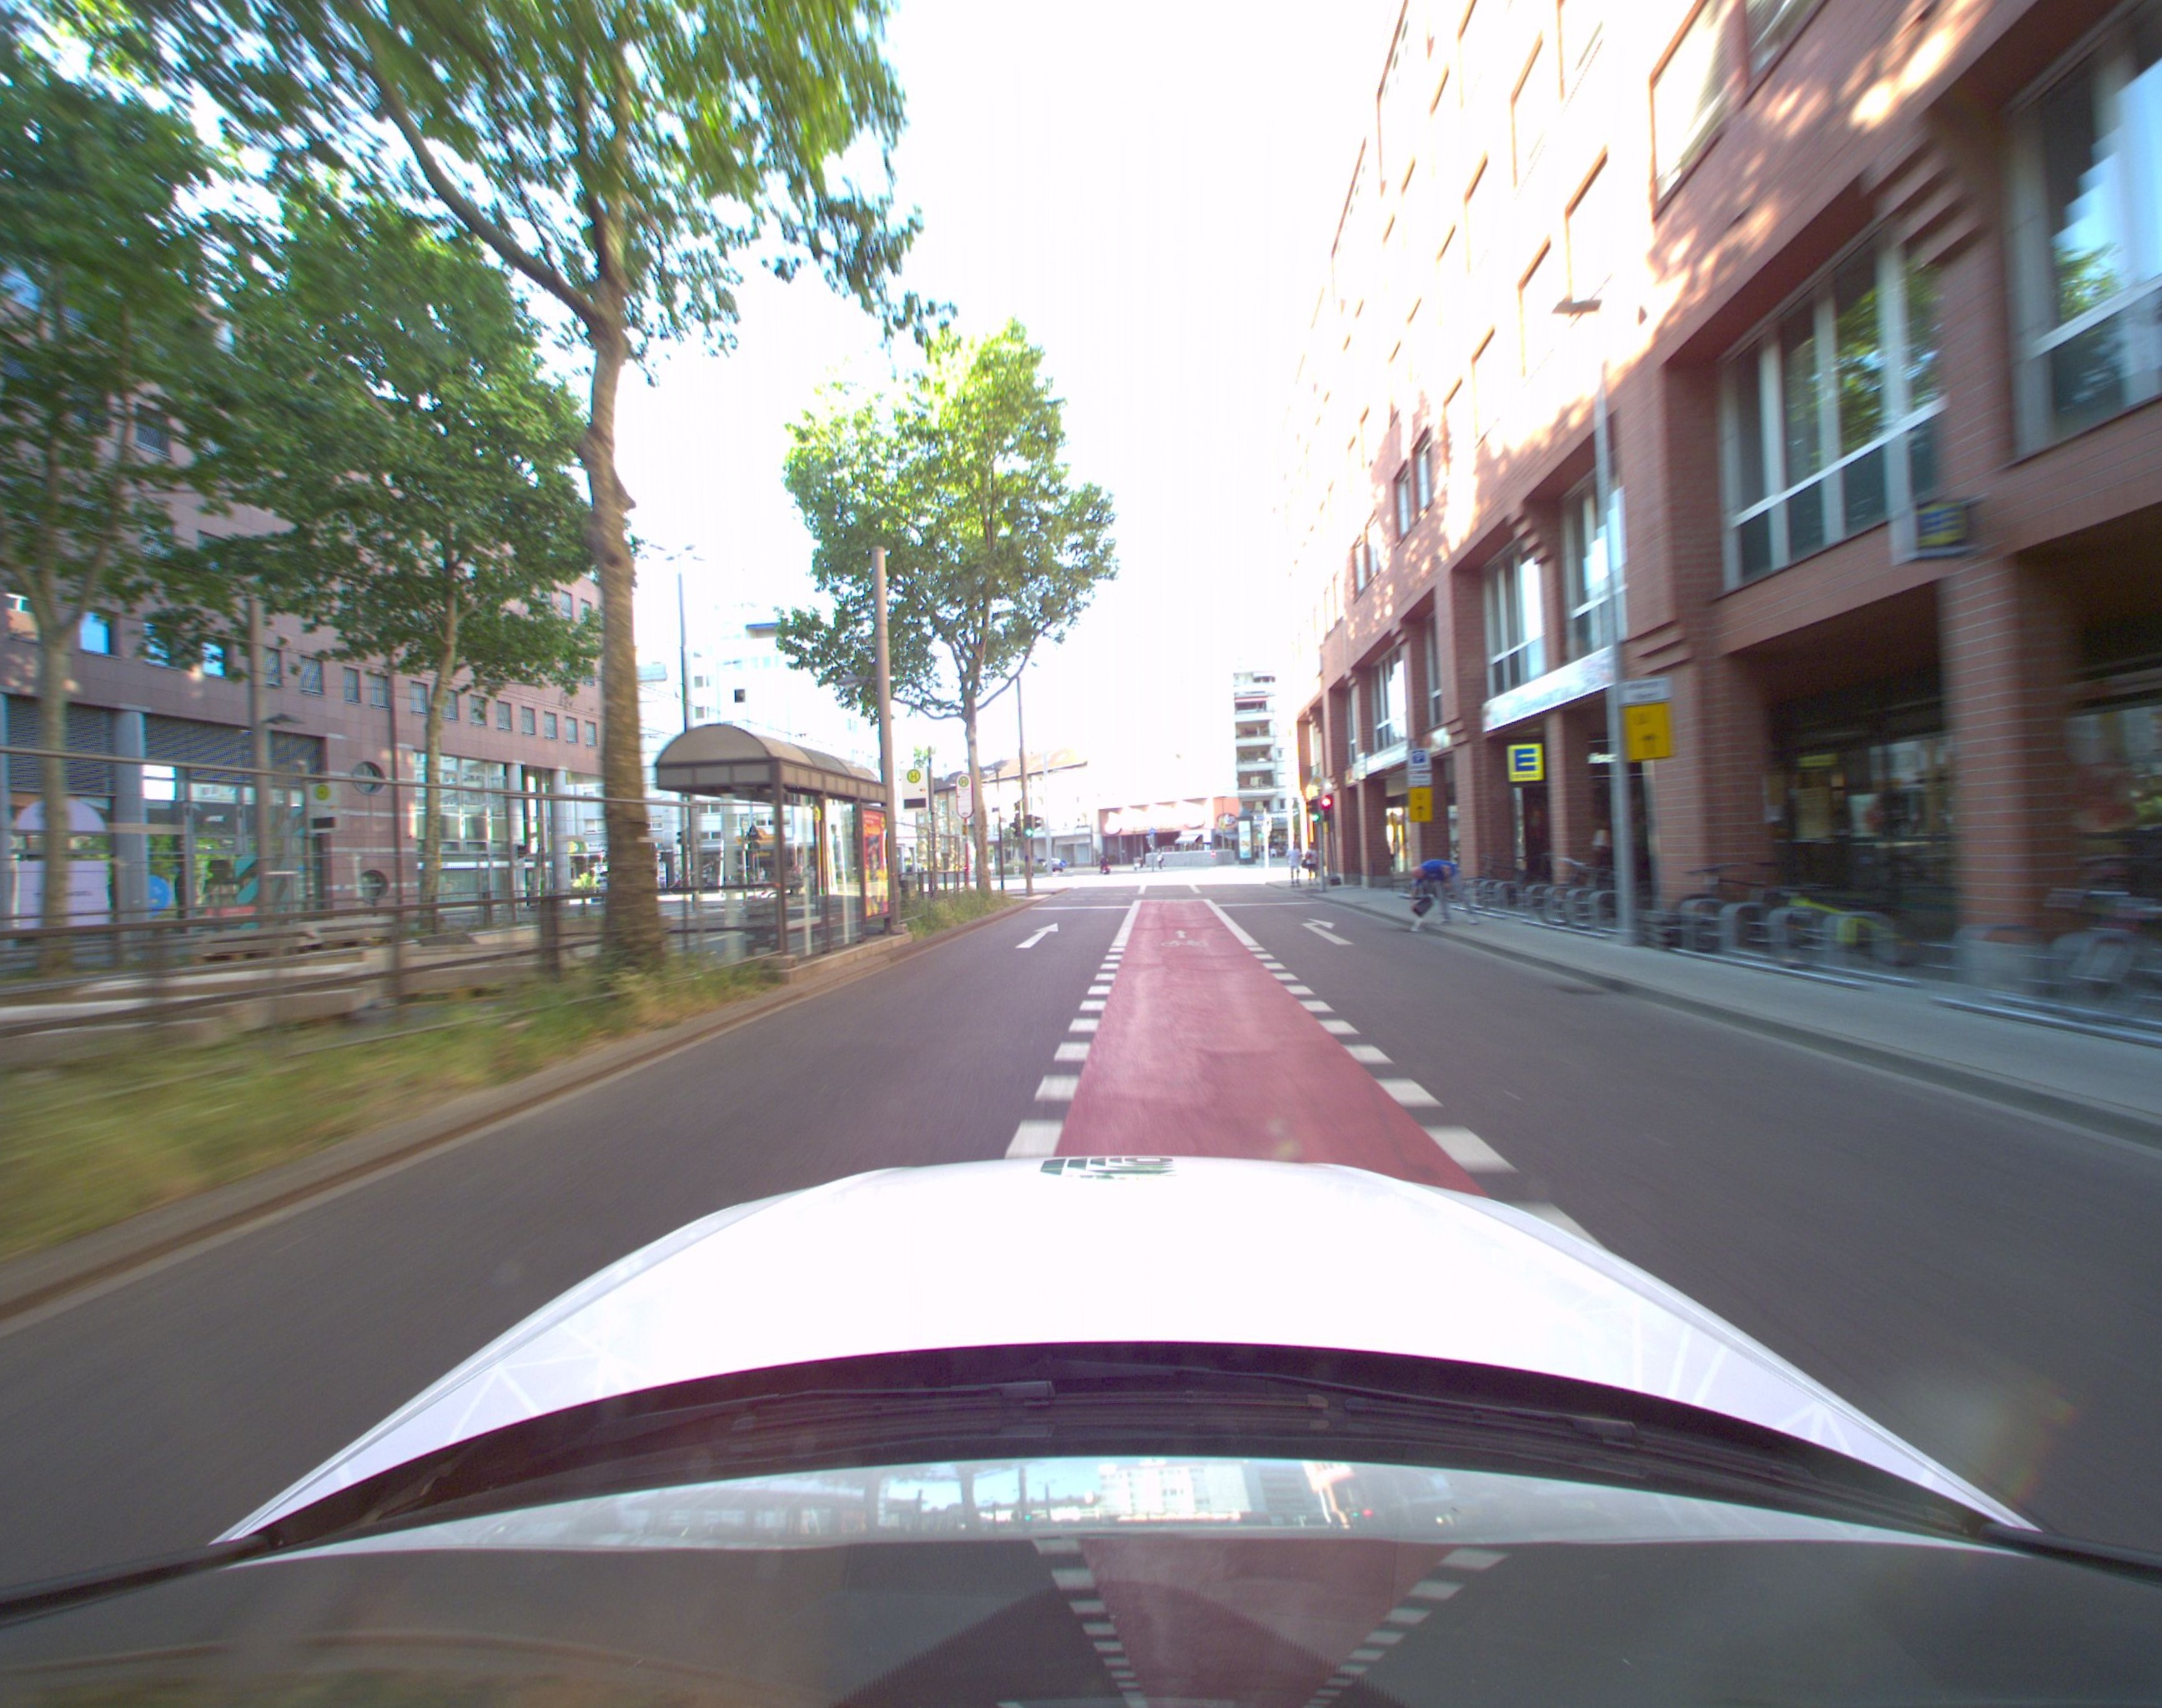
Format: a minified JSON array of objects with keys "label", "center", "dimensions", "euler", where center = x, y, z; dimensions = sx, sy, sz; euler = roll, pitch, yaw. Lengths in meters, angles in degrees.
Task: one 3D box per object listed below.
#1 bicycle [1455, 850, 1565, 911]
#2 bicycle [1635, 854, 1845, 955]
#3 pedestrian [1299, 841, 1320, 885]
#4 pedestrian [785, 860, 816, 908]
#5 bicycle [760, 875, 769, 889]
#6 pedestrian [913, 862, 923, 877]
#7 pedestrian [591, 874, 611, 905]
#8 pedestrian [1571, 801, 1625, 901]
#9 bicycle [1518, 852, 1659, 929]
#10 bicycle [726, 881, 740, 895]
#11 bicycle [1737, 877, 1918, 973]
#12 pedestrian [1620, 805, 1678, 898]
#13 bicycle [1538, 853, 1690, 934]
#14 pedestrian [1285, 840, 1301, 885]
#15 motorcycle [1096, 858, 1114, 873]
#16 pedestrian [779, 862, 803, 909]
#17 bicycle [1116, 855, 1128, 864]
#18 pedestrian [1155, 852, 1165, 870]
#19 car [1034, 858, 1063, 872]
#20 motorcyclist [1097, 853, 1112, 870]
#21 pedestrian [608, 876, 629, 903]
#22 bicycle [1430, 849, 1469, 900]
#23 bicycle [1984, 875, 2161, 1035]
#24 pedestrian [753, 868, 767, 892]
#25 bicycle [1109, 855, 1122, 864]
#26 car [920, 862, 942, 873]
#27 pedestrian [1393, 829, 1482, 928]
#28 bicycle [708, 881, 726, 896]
[{"label":"bicycle","center":[8.721,0.538,16.597],"dimensions":[1.882,1.119,0.475],"euler":[-3,-1,5]},{"label":"bicycle","center":[8.005,0.604,9.960],"dimensions":[1.922,1.057,0.574],"euler":[-5,-1,8]},{"label":"pedestrian","center":[9.198,0.358,32.753],"dimensions":[0.630,1.725,0.631],"euler":[-3,0,5]},{"label":"pedestrian","center":[-10.690,1.136,31.059],"dimensions":[0.774,1.734,0.849],"euler":[-3,0,2]},{"label":"bicycle","center":[-25.450,2.217,65.471],"dimensions":[0.597,1.053,1.992],"euler":[-3,0,-20]},{"label":"pedestrian","center":[-19.234,1.779,95.820],"dimensions":[0.812,1.724,0.767],"euler":[-2,-1,-43]},{"label":"pedestrian","center":[-25.729,1.890,43.693],"dimensions":[0.634,1.618,0.727],"euler":[-3,-1,45]},{"label":"pedestrian","center":[10.766,-0.060,16.972],"dimensions":[0.605,2.013,0.661],"euler":[-3,0,-1]},{"label":"bicycle","center":[8.220,0.587,13.234],"dimensions":[1.882,1.119,0.475],"euler":[-3,-1,5]},{"label":"bicycle","center":[-27.801,2.694,65.065],"dimensions":[0.595,1.053,1.997],"euler":[-3,0,-12]},{"label":"bicycle","center":[7.681,0.728,8.416],"dimensions":[1.327,0.841,0.425],"euler":[-5,-1,6]},{"label":"pedestrian","center":[11.408,-0.054,16.381],"dimensions":[0.656,1.796,0.609],"euler":[-3,0,1]},{"label":"bicycle","center":[8.187,0.594,12.559],"dimensions":[1.882,1.119,0.551],"euler":[-3,-1,5]},{"label":"pedestrian","center":[8.661,0.336,33.249],"dimensions":[0.473,1.792,0.542],"euler":[-3,0,5]},{"label":"motorcycle","center":[1.897,0.939,64.940],"dimensions":[0.973,1.132,2.796],"euler":[-1,0,-8]},{"label":"pedestrian","center":[-10.763,1.170,30.219],"dimensions":[0.563,1.680,0.532],"euler":[-3,0,6]},{"label":"bicycle","center":[5.032,0.718,100.262],"dimensions":[0.498,1.038,1.619],"euler":[-2,0,-39]},{"label":"pedestrian","center":[7.153,0.613,73.696],"dimensions":[0.543,1.583,0.551],"euler":[-2,0,-38]},{"label":"car","center":[-3.498,1.156,86.778],"dimensions":[1.930,1.388,3.973],"euler":[-3,0,-20]},{"label":"motorcyclist","center":[1.874,0.605,64.926],"dimensions":[0.970,1.347,1.134],"euler":[-1,0,-9]},{"label":"pedestrian","center":[-29.725,2.252,52.329],"dimensions":[0.896,1.665,0.890],"euler":[-3,-1,40]},{"label":"bicycle","center":[9.049,0.488,20.053],"dimensions":[0.338,1.183,1.681],"euler":[-3,0,7]},{"label":"bicycle","center":[7.468,0.658,5.642],"dimensions":[1.603,0.955,0.556],"euler":[-5,-1,6]},{"label":"pedestrian","center":[-24.927,2.006,63.300],"dimensions":[0.625,1.791,0.786],"euler":[-3,0,7]},{"label":"bicycle","center":[4.231,0.718,99.917],"dimensions":[0.498,1.038,1.619],"euler":[-2,0,-39]},{"label":"car","center":[-20.192,1.796,109.975],"dimensions":[1.825,1.386,4.598],"euler":[-3,-1,2]},{"label":"pedestrian","center":[6.583,0.441,15.112],"dimensions":[1.188,1.696,0.887],"euler":[-5,-1,8]},{"label":"bicycle","center":[-28.842,2.706,64.619],"dimensions":[0.593,1.053,2.004],"euler":[-3,0,-3]}]
